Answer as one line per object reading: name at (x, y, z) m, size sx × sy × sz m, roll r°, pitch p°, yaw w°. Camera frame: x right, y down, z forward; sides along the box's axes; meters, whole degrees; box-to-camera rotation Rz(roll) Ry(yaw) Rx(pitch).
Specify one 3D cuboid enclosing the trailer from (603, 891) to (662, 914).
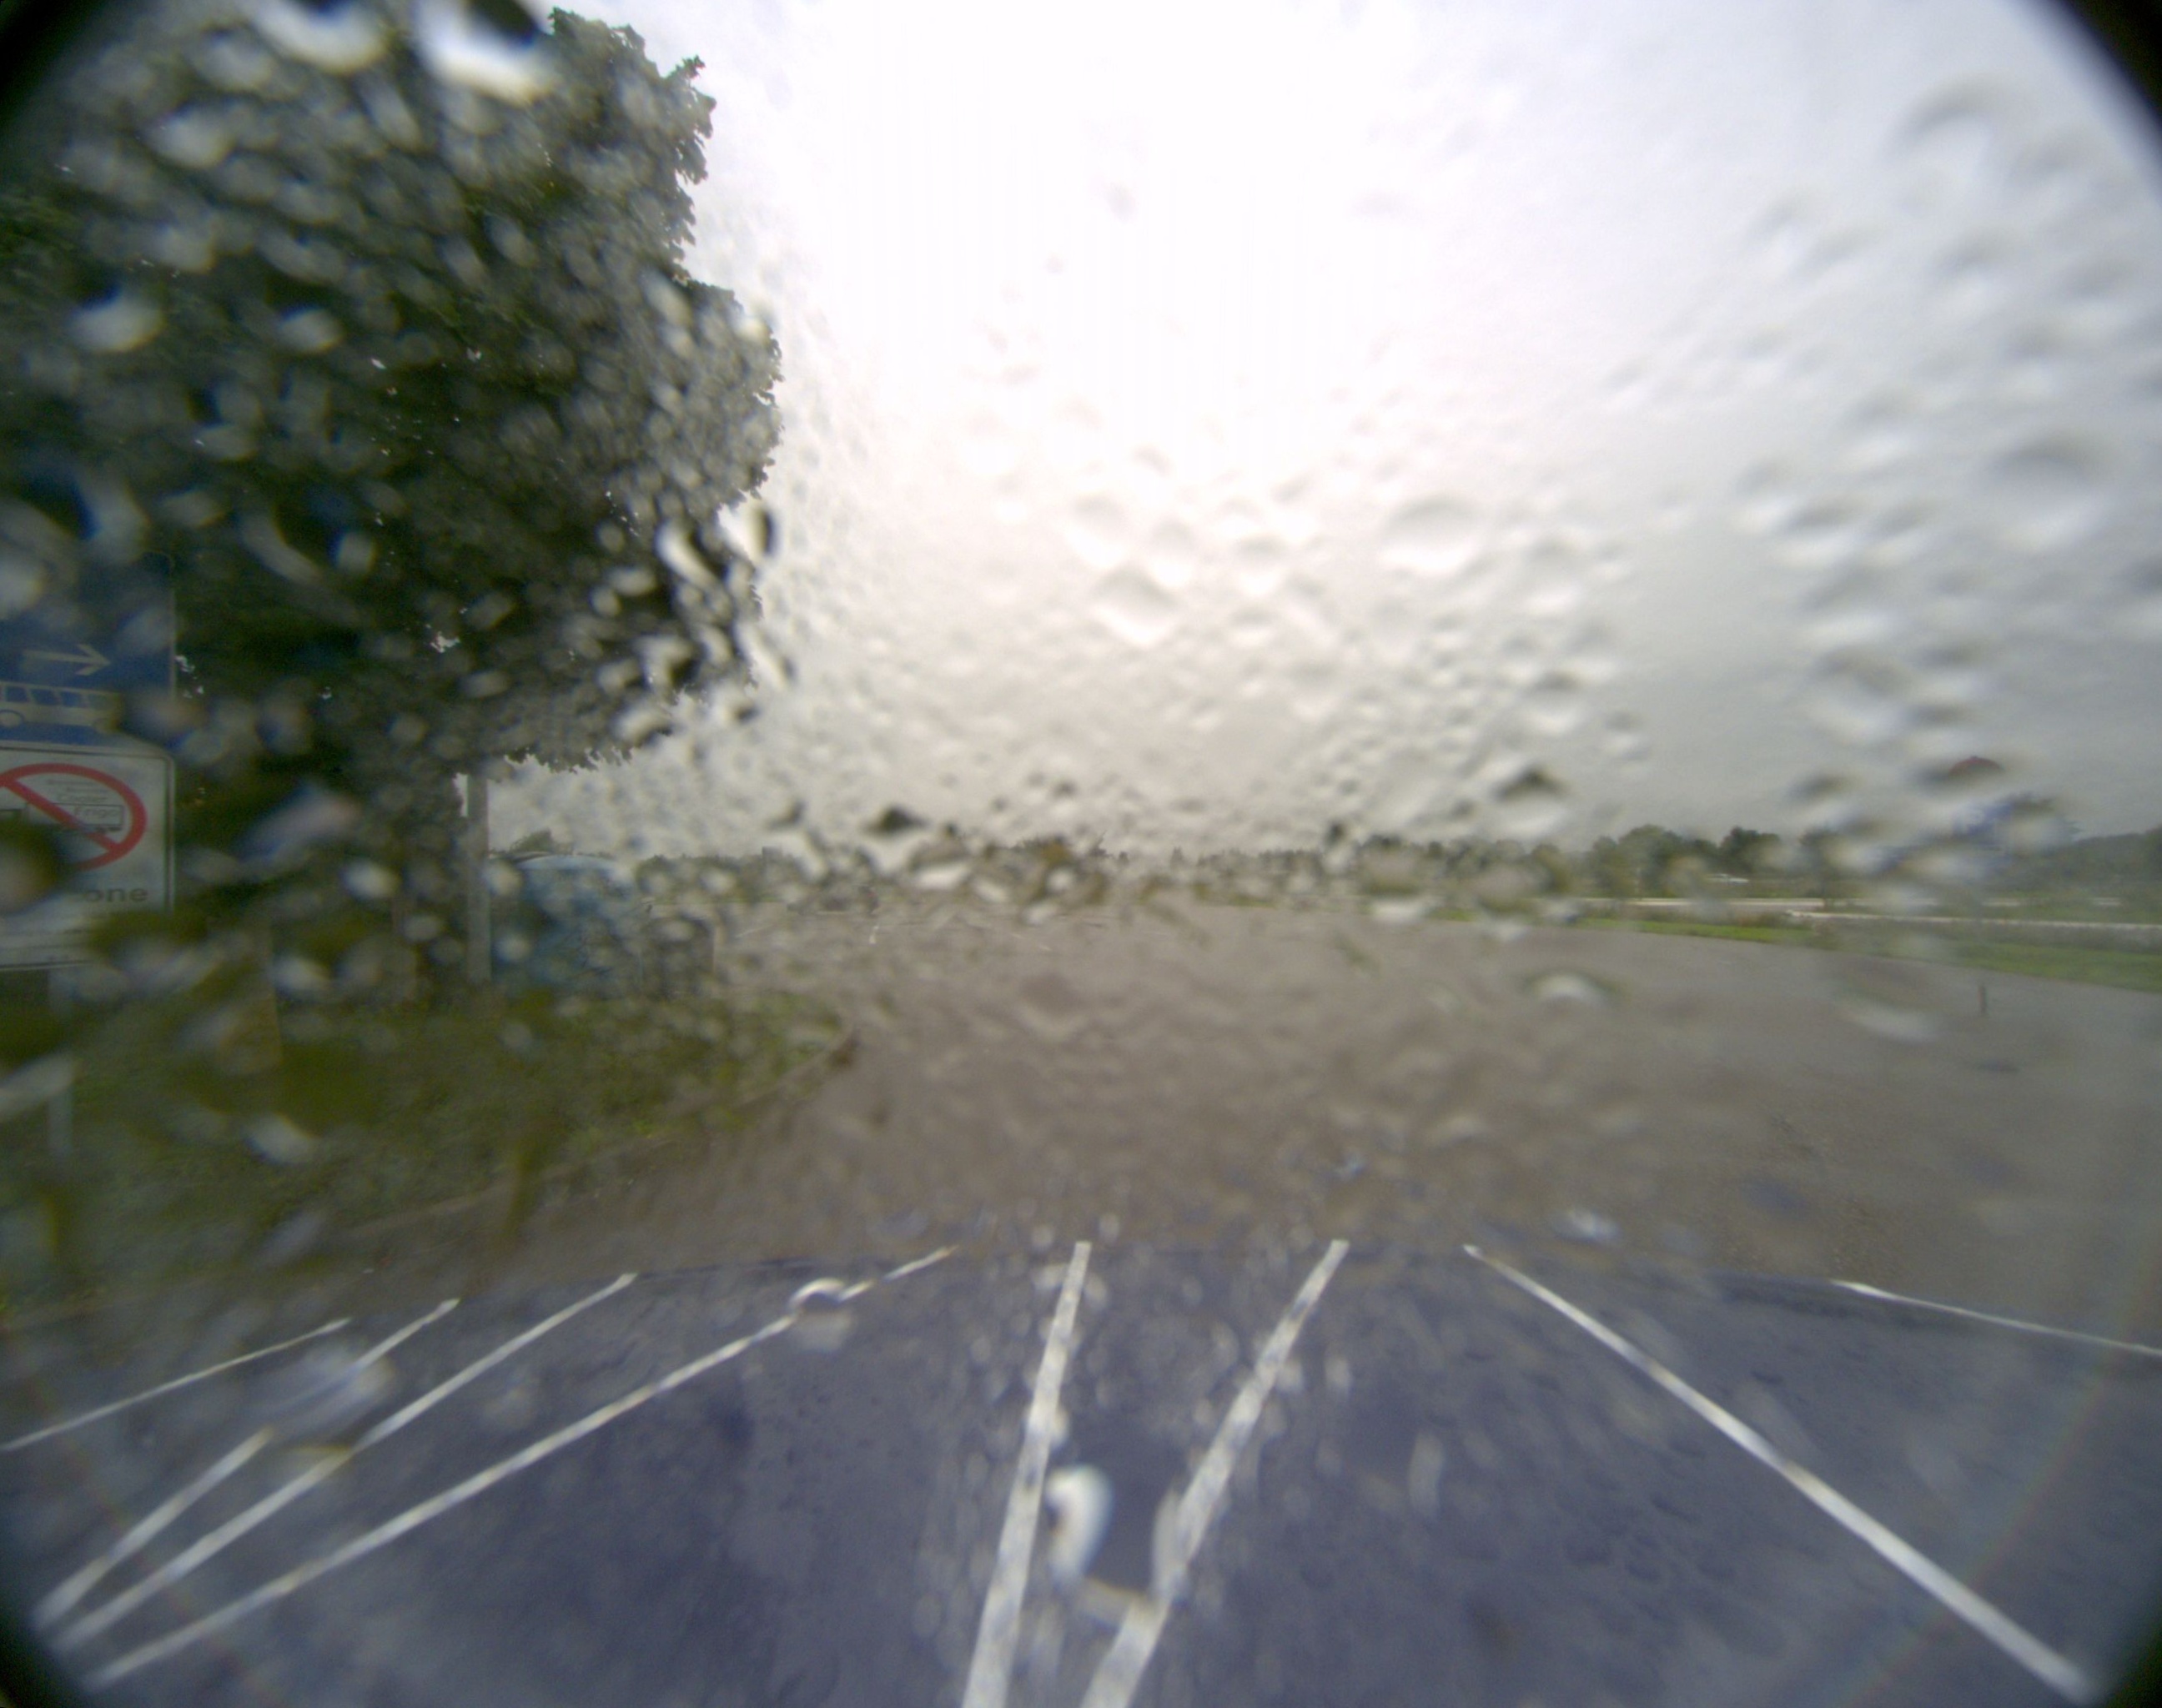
trailer at (-22.183, 2.379, 37.690) m, size 1.589 × 1.060 × 3.028 m, roll -1°, pitch -2°, yaw -11°

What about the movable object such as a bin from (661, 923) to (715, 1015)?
movable object such as a bin at (-4.348, 1.257, 8.410) m, size 0.451 × 0.933 × 0.487 m, roll 0°, pitch -2°, yaw -38°

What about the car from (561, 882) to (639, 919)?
car at (-21.413, 2.024, 34.010) m, size 1.550 × 1.546 × 4.054 m, roll 0°, pitch -2°, yaw -11°

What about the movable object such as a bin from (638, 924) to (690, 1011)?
movable object such as a bin at (-4.797, 1.285, 8.736) m, size 0.451 × 0.911 × 0.487 m, roll 0°, pitch -2°, yaw -38°

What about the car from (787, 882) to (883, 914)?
car at (-11.643, 2.081, 36.166) m, size 4.078 × 1.425 × 1.779 m, roll -1°, pitch -1°, yaw -7°
